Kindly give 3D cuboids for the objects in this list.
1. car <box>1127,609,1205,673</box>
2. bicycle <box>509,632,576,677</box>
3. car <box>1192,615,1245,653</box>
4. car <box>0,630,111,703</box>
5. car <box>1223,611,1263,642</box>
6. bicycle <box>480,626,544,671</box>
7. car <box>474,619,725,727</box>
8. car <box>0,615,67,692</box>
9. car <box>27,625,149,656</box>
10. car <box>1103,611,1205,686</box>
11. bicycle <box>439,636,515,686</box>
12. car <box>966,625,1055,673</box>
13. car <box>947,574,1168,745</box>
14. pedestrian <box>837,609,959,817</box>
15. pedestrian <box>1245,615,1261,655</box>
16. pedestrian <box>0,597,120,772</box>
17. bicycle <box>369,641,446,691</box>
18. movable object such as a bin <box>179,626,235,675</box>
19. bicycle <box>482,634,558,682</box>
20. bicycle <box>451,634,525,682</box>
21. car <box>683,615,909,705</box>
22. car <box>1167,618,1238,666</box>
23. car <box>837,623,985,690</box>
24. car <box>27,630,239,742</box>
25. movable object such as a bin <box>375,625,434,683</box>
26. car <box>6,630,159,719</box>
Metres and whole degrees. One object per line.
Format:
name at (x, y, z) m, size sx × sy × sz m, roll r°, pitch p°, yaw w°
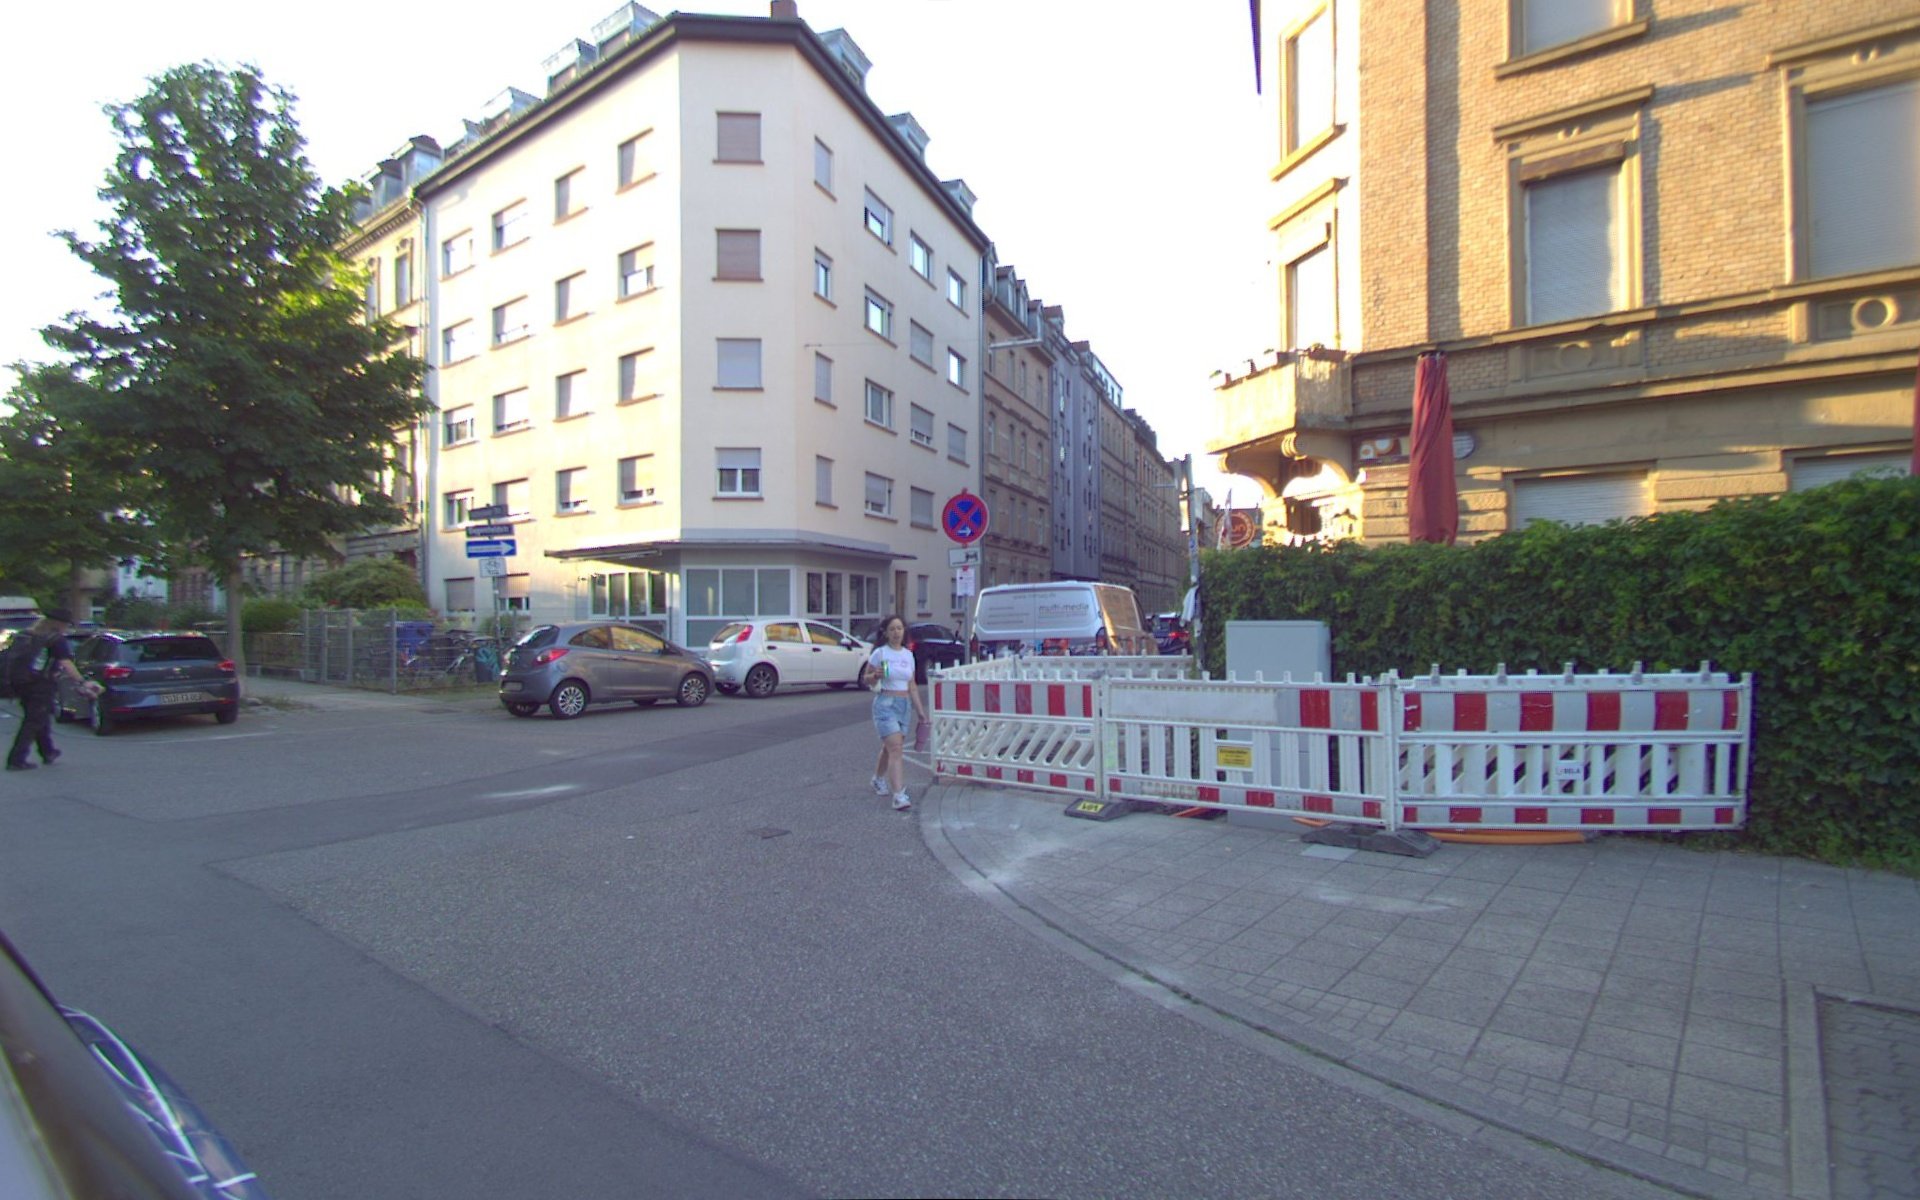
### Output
car at (5.753, 1.104, 27.951) m, size 1.572 × 1.635 × 3.974 m, roll -1°, pitch -2°, yaw 19°
bicycle at (-10.916, 1.411, 26.517) m, size 0.499 × 1.100 × 1.617 m, roll -1°, pitch 0°, yaw 34°
car at (10.622, 1.389, 41.450) m, size 1.774 × 1.470 × 3.974 m, roll -1°, pitch -2°, yaw 19°
car at (-20.521, 1.400, 22.397) m, size 4.585 × 1.423 × 1.843 m, roll -1°, pitch -1°, yaw 39°
car at (15.337, 1.441, 54.726) m, size 1.875 × 1.569 × 3.975 m, roll -1°, pitch -2°, yaw 18°
bicycle at (-12.023, 1.283, 27.168) m, size 0.499 × 1.100 × 1.531 m, roll -1°, pitch 0°, yaw 34°
car at (-5.866, 1.123, 16.735) m, size 1.843 × 1.519 × 3.472 m, roll -2°, pitch -2°, yaw 39°
car at (-24.266, 1.311, 25.554) m, size 4.618 × 1.792 × 1.843 m, roll -1°, pitch -1°, yaw 39°
car at (-42.805, 1.953, 49.740) m, size 1.625 × 1.351 × 4.357 m, roll -1°, pitch -1°, yaw 40°
car at (4.584, 1.089, 23.449) m, size 2.004 × 1.583 × 3.899 m, roll -1°, pitch -2°, yaw 15°
bicycle at (-11.234, 1.406, 23.539) m, size 1.528 × 1.100 × 0.500 m, roll -1°, pitch 0°, yaw 3°
car at (1.680, 1.540, 32.242) m, size 1.859 × 1.419 × 3.976 m, roll -1°, pitch -2°, yaw 18°
car at (1.650, 0.765, 14.664) m, size 2.189 × 1.990 × 5.265 m, roll -1°, pitch -1°, yaw 17°
pedestrian at (-0.530, 0.899, 8.531) m, size 0.700 × 1.630 × 0.789 m, roll -1°, pitch 0°, yaw -32°
pedestrian at (12.572, 1.495, 43.416) m, size 0.589 × 1.699 × 0.495 m, roll -1°, pitch 0°, yaw 18°
pedestrian at (-9.633, 0.848, 10.571) m, size 0.881 × 1.735 × 0.957 m, roll -1°, pitch 0°, yaw 7°
bicycle at (-12.138, 1.426, 22.221) m, size 1.927 × 1.033 × 0.681 m, roll -1°, pitch 0°, yaw 35°
movable object such as a bin at (-22.506, 1.481, 30.234) m, size 1.549 × 1.398 × 0.937 m, roll -1°, pitch 0°, yaw 37°
bicycle at (-10.643, 1.407, 24.475) m, size 1.689 × 1.100 × 0.385 m, roll -1°, pitch 0°, yaw 4°
bicycle at (-11.220, 1.374, 24.057) m, size 1.528 × 1.100 × 0.500 m, roll -1°, pitch 0°, yaw 3°
car at (-3.250, 1.118, 20.371) m, size 4.007 × 1.520 × 1.978 m, roll -1°, pitch 0°, yaw -38°
car at (7.928, 1.337, 32.895) m, size 1.830 × 1.438 × 3.974 m, roll -1°, pitch -2°, yaw 19°
car at (-1.059, 1.295, 24.178) m, size 1.986 × 1.450 × 4.047 m, roll -2°, pitch -2°, yaw 23°
car at (-13.012, 1.234, 15.828) m, size 4.458 × 1.472 × 1.658 m, roll -1°, pitch -1°, yaw 38°
movable object such as a bin at (-13.721, 1.318, 24.987) m, size 1.398 × 1.362 × 0.857 m, roll -1°, pitch 0°, yaw 42°
car at (-16.590, 1.312, 19.067) m, size 4.142 × 1.431 × 1.723 m, roll -1°, pitch -1°, yaw 42°
